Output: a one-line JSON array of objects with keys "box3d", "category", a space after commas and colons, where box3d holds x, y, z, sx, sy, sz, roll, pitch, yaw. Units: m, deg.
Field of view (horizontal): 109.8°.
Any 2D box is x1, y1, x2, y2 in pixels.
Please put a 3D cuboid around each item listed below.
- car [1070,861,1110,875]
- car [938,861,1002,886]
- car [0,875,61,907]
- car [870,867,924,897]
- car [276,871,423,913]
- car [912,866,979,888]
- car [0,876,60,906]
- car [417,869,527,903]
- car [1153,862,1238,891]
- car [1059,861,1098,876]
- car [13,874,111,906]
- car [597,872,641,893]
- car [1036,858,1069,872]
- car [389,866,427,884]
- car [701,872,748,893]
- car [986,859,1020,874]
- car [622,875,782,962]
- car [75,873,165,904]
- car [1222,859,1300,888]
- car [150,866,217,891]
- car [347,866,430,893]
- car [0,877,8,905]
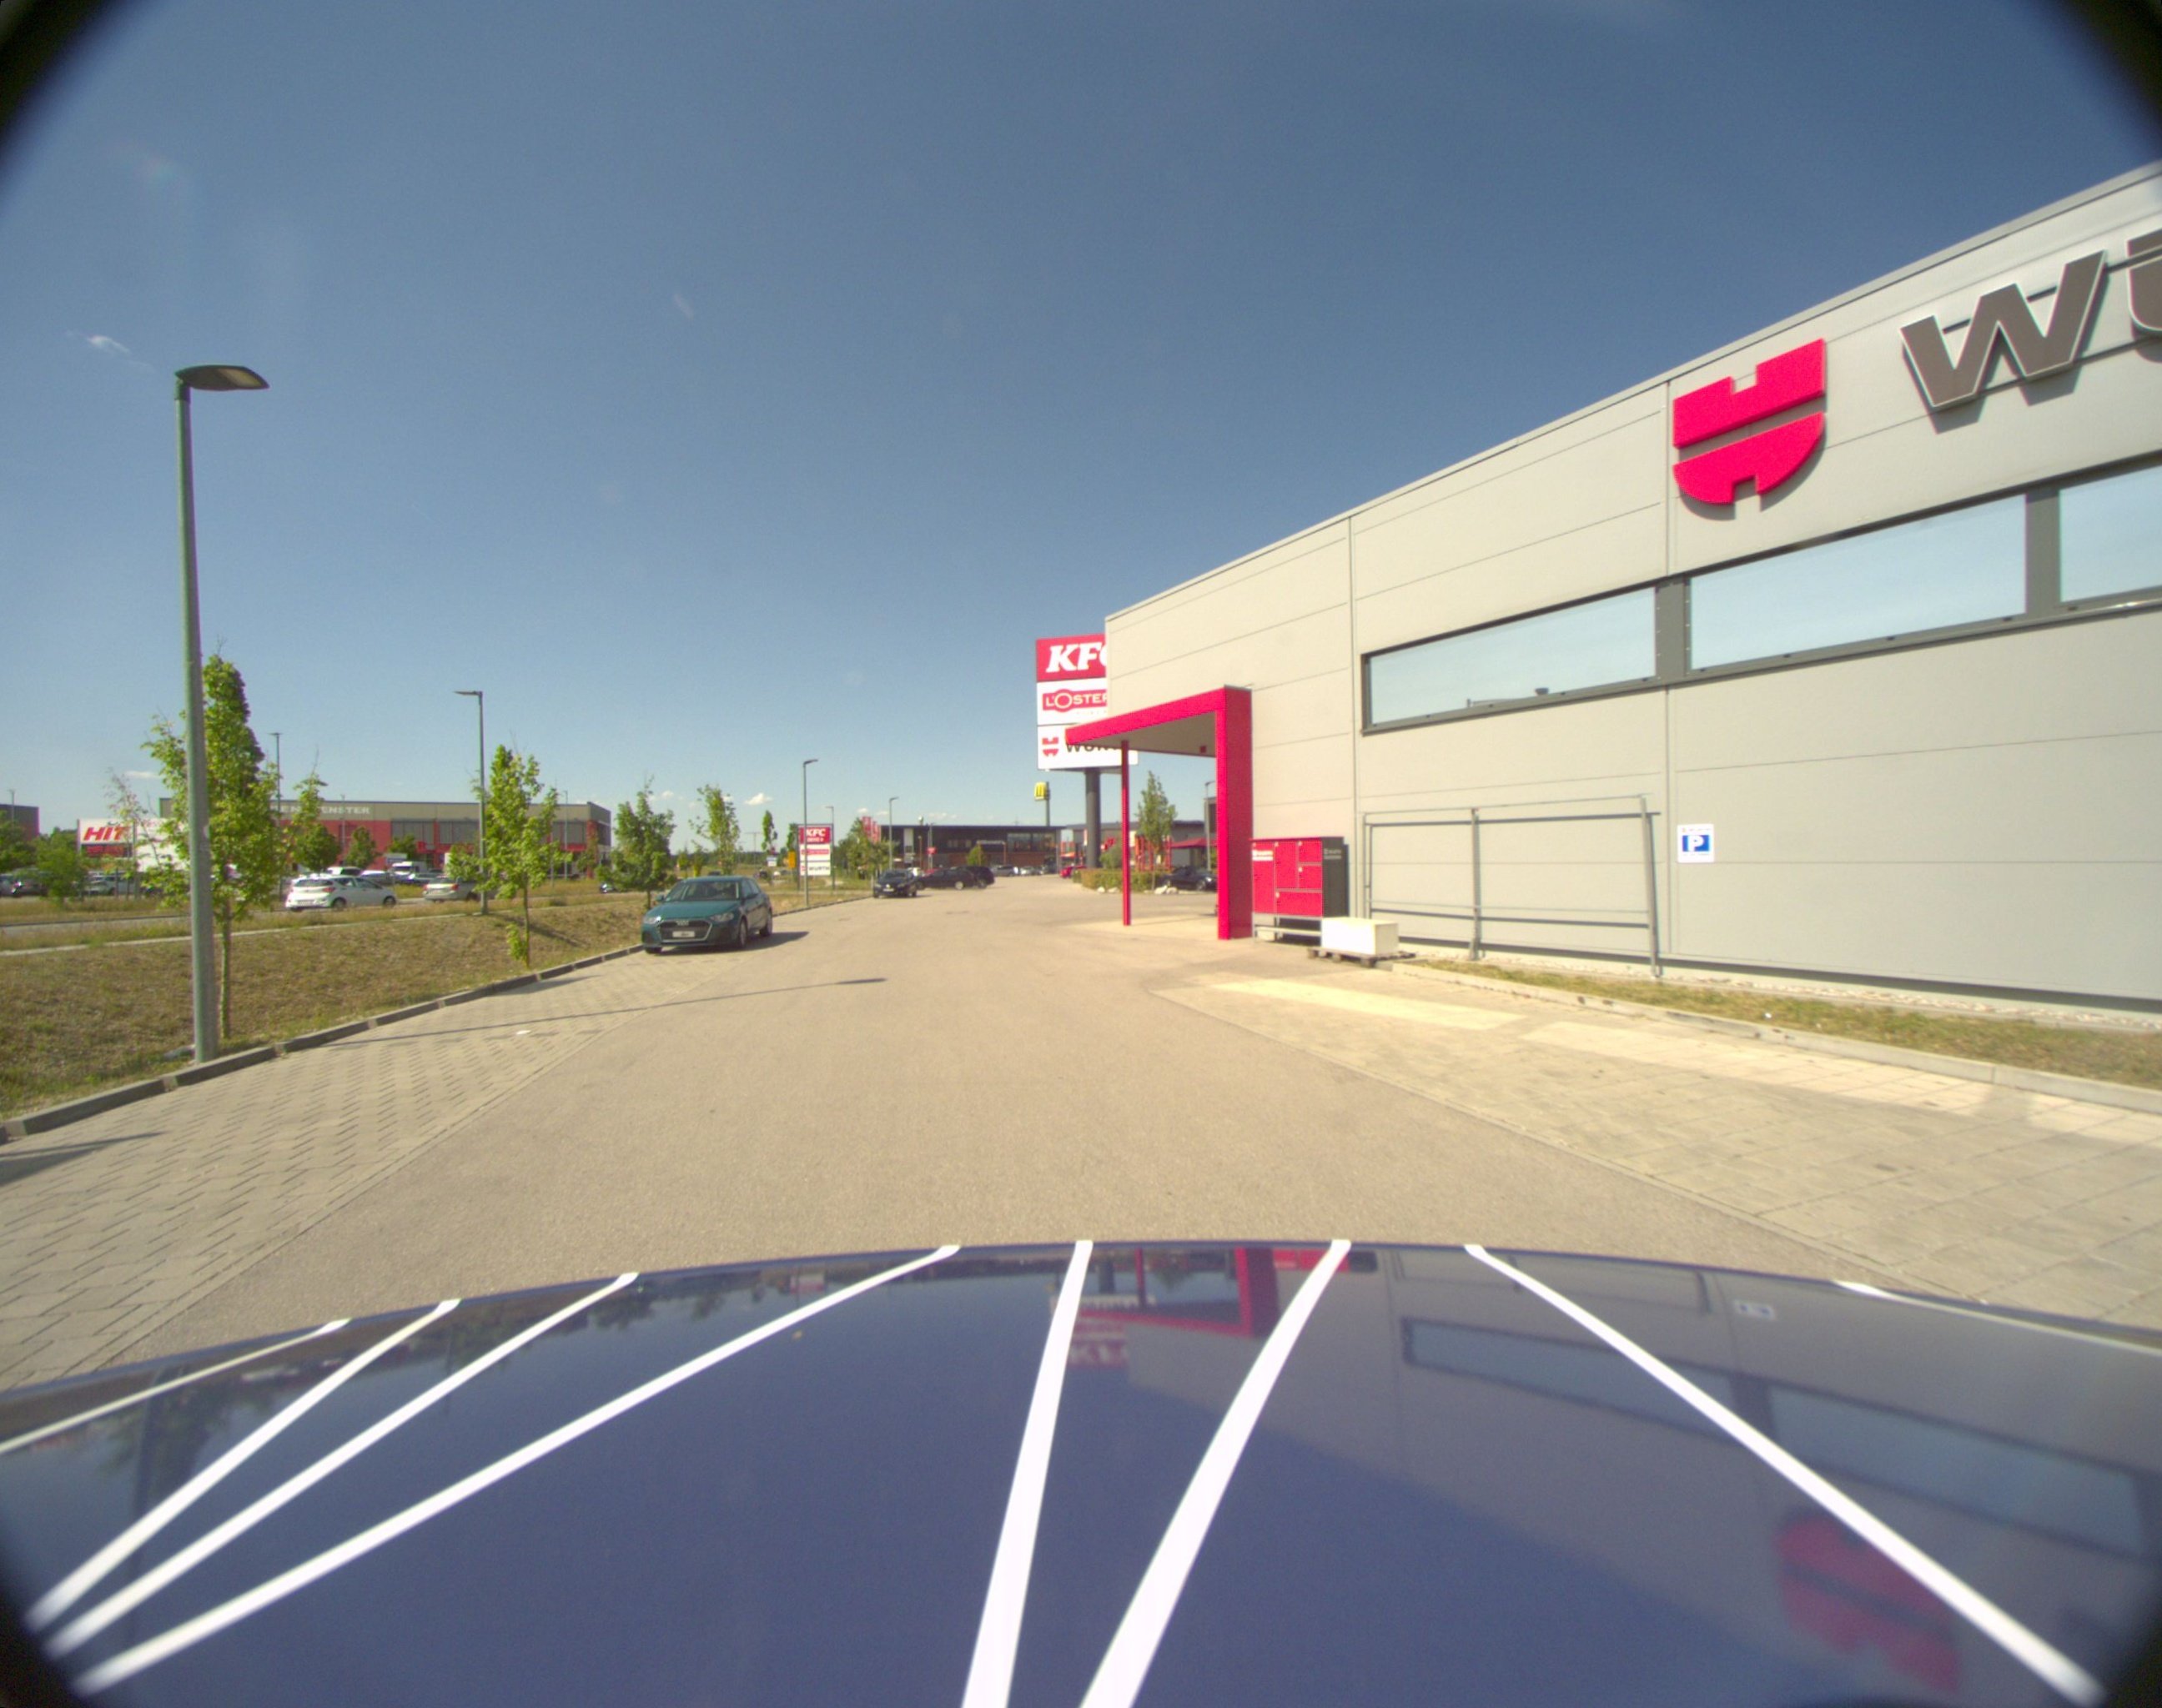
[{"box3d": [0.972, 1.592, 85.817, 4.102, 1.556, 1.875, -1, 0, -25], "category": "car"}, {"box3d": [-8.432, 1.466, 57.985, 4.530, 1.824, 2.000, -1, 0, 1], "category": "car"}, {"box3d": [-72.596, 2.512, 51.596, 2.002, 2.026, 4.476, -2, 0, -24], "category": "car"}, {"box3d": [-9.592, 1.422, 39.937, 1.877, 1.457, 4.363, -1, -1, -2], "category": "car"}, {"box3d": [-30.977, 1.542, 32.414, 1.946, 1.542, 4.758, -2, 0, -6], "category": "car"}, {"box3d": [-9.520, 1.616, 53.712, 4.534, 1.450, 1.999, -1, 0, -9], "category": "car"}, {"box3d": [-76.830, 2.646, 54.697, 2.002, 2.026, 4.476, -2, 0, -24], "category": "car"}, {"box3d": [-31.516, 1.616, 39.535, 1.946, 1.542, 4.760, -2, 0, -2], "category": "car"}, {"box3d": [5.667, 1.109, 38.043, 1.834, 1.330, 4.144, -1, -1, -36], "category": "car"}, {"box3d": [-0.297, 1.680, 88.230, 4.102, 1.556, 1.875, -1, 0, -25], "category": "car"}, {"box3d": [-69.947, 2.437, 52.269, 2.002, 2.026, 4.476, -2, 0, -24], "category": "car"}, {"box3d": [-35.509, 2.177, 58.500, 1.830, 1.532, 3.995, -1, -1, -16], "category": "car"}, {"box3d": [-4.362, 1.635, 115.608, 4.490, 2.002, 1.996, -2, 0, -25], "category": "car"}, {"box3d": [-78.071, 2.405, 88.230, 2.002, 2.026, 4.476, -2, 0, -24], "category": "car"}, {"box3d": [-29.780, 2.389, 63.605, 1.946, 1.542, 4.759, -2, 0, -4], "category": "car"}, {"box3d": [-11.258, 1.815, 109.722, 4.490, 2.002, 1.996, -2, 0, -25], "category": "car"}, {"box3d": [-7.625, 1.207, 15.750, 1.846, 1.441, 4.223, -1, -1, -11], "category": "car"}, {"box3d": [-67.328, 2.364, 53.334, 2.002, 2.026, 4.476, -2, 0, -24], "category": "car"}, {"box3d": [9.622, 1.030, 40.885, 1.806, 1.466, 3.905, -1, -1, -31], "category": "car"}, {"box3d": [-79.303, 2.110, 67.241, 2.002, 2.026, 4.476, -2, 0, -24], "category": "car"}, {"box3d": [-56.356, 2.076, 61.918, 4.486, 2.026, 1.998, -2, 0, -12], "category": "car"}, {"box3d": [-79.622, 2.725, 53.909, 2.002, 2.026, 4.476, -2, 0, -24], "category": "car"}]
